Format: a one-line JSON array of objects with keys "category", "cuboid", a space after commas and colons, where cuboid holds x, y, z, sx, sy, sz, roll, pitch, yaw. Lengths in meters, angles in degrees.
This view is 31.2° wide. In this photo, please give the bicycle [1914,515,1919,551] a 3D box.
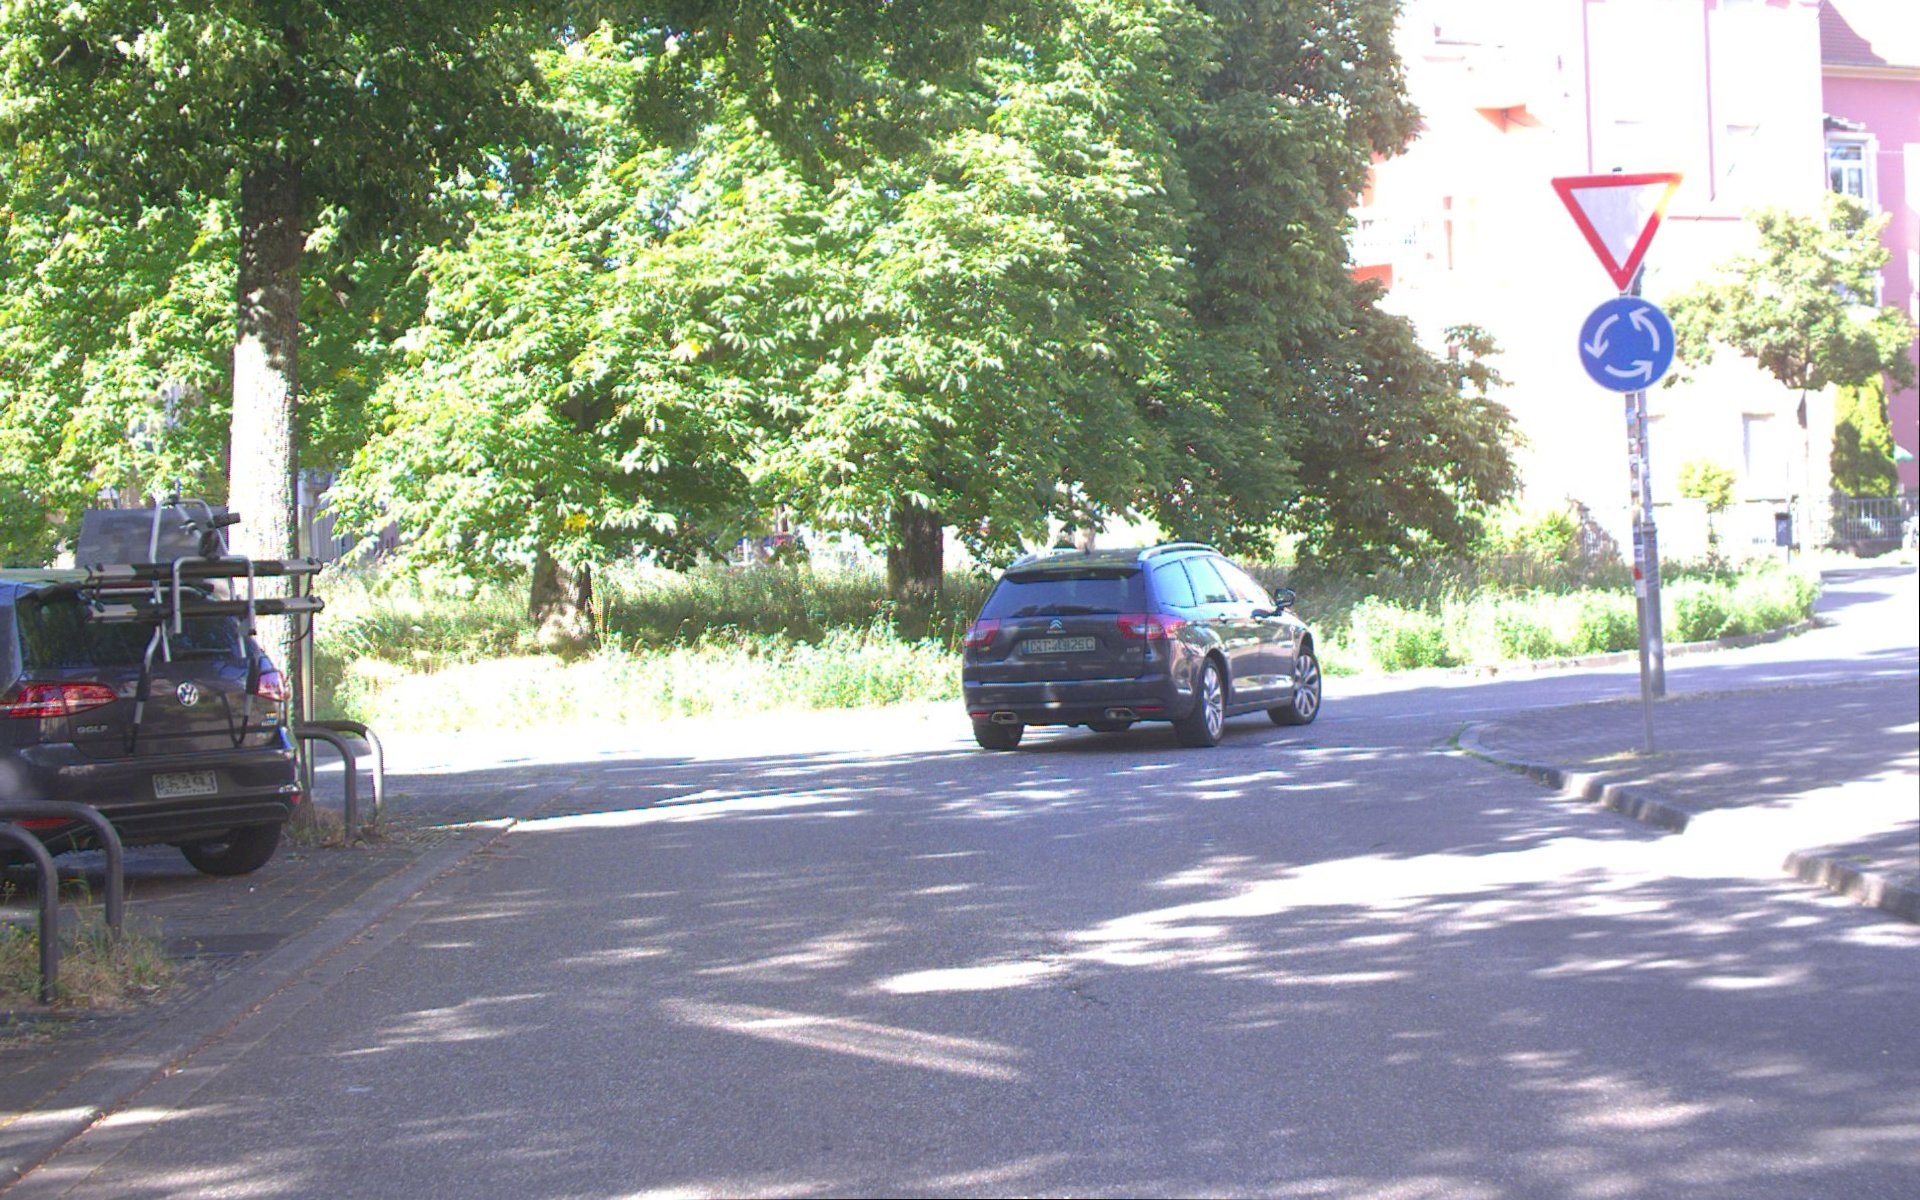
[{"category": "bicycle", "cuboid": [21.972, -1.498, 76.382, 0.477, 0.797, 2.287, -3, 1, -12]}]

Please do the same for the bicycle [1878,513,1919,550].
[{"category": "bicycle", "cuboid": [21.289, -1.539, 76.953, 0.477, 0.797, 2.029, -3, 1, -14]}]

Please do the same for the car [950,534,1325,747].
[{"category": "car", "cuboid": [1.450, 0.281, 26.319, 1.716, 1.478, 4.140, -1, 0, 20]}]

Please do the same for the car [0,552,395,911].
[{"category": "car", "cuboid": [-4.732, 0.560, 16.184, 4.138, 1.476, 1.772, -1, 0, 39]}]

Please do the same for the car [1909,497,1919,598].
[{"category": "car", "cuboid": [15.814, -0.841, 51.435, 1.714, 1.558, 3.772, -2, 0, -7]}]
